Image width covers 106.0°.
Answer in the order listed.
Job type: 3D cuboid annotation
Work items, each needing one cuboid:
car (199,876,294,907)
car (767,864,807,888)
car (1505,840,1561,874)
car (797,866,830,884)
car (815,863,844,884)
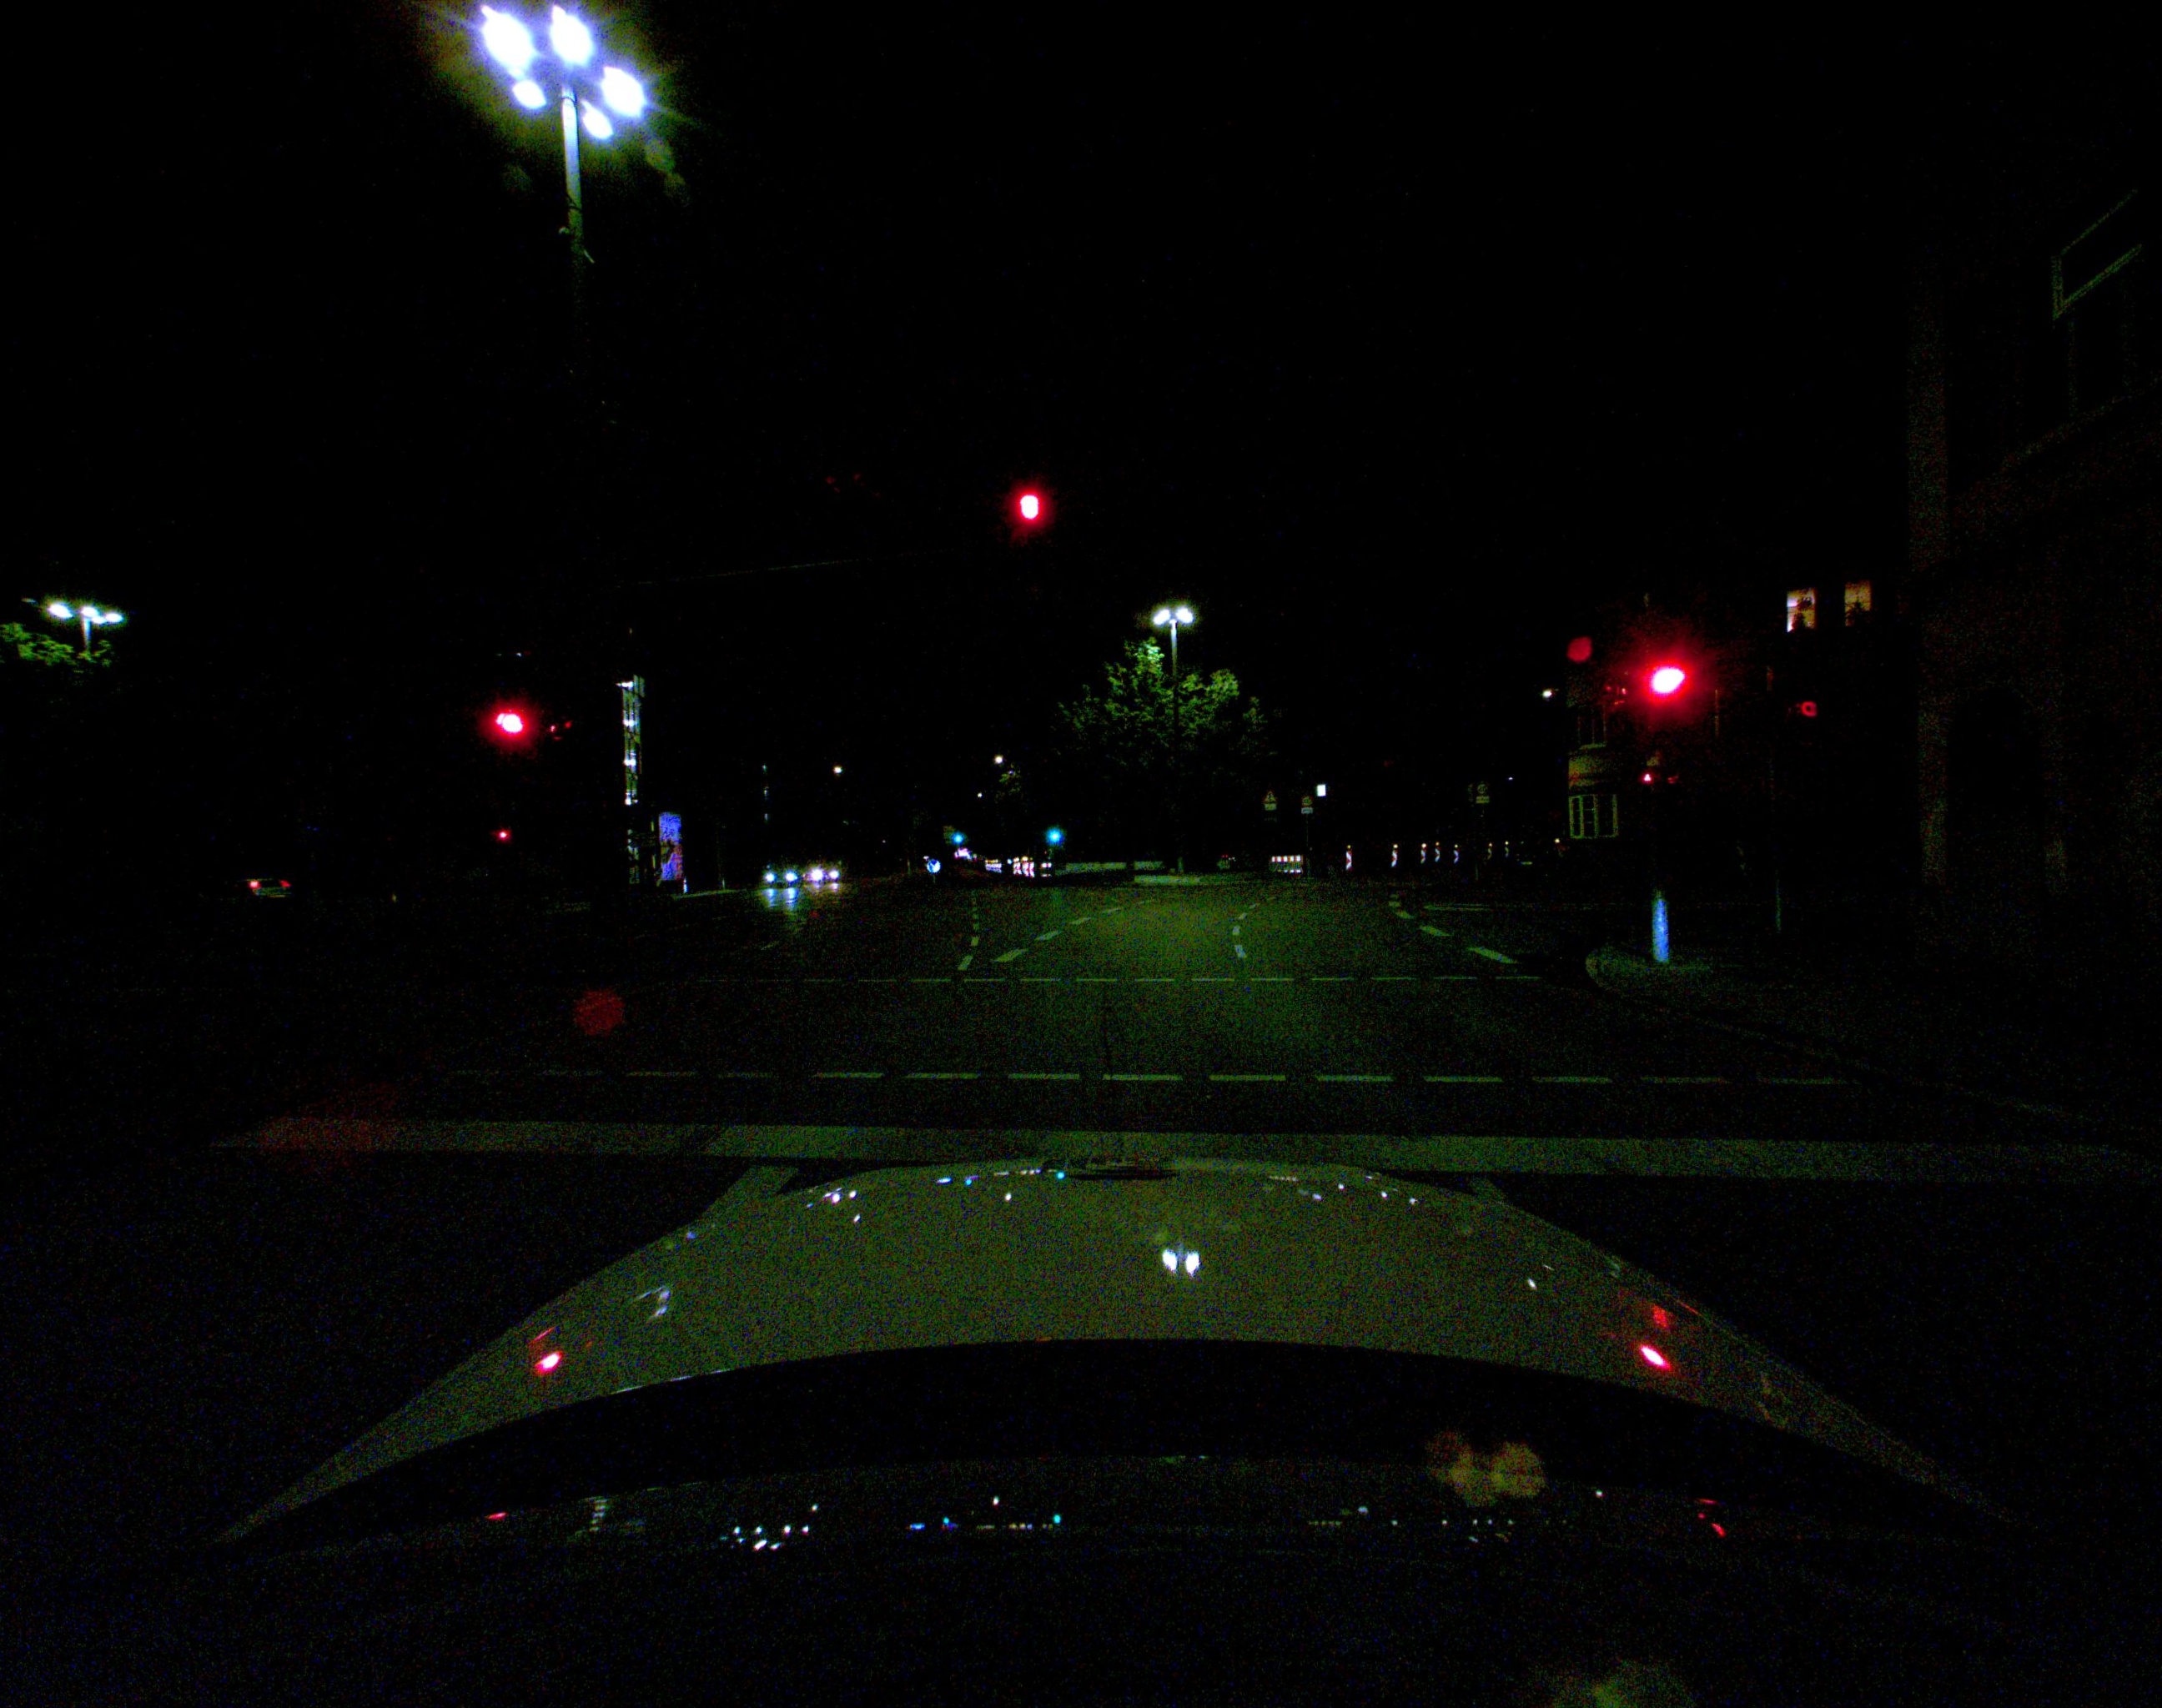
[{"bbox_3d":[-43.353,1.943,42.324,3.957,1.491,1.716,-2,-1,16],"label":"car"},{"bbox_3d":[-19.801,1.444,55.032,1.614,1.515,3.990,-2,-1,-7],"label":"car"},{"bbox_3d":[22.614,0.140,40.709,1.711,1.612,3.646,-2,-1,41],"label":"car"},{"bbox_3d":[-20.462,1.588,62.382,1.756,1.322,3.538,-2,-1,-7],"label":"car"},{"bbox_3d":[-21.563,1.662,70.006,1.756,1.728,3.538,-2,-1,-7],"label":"car"}]
